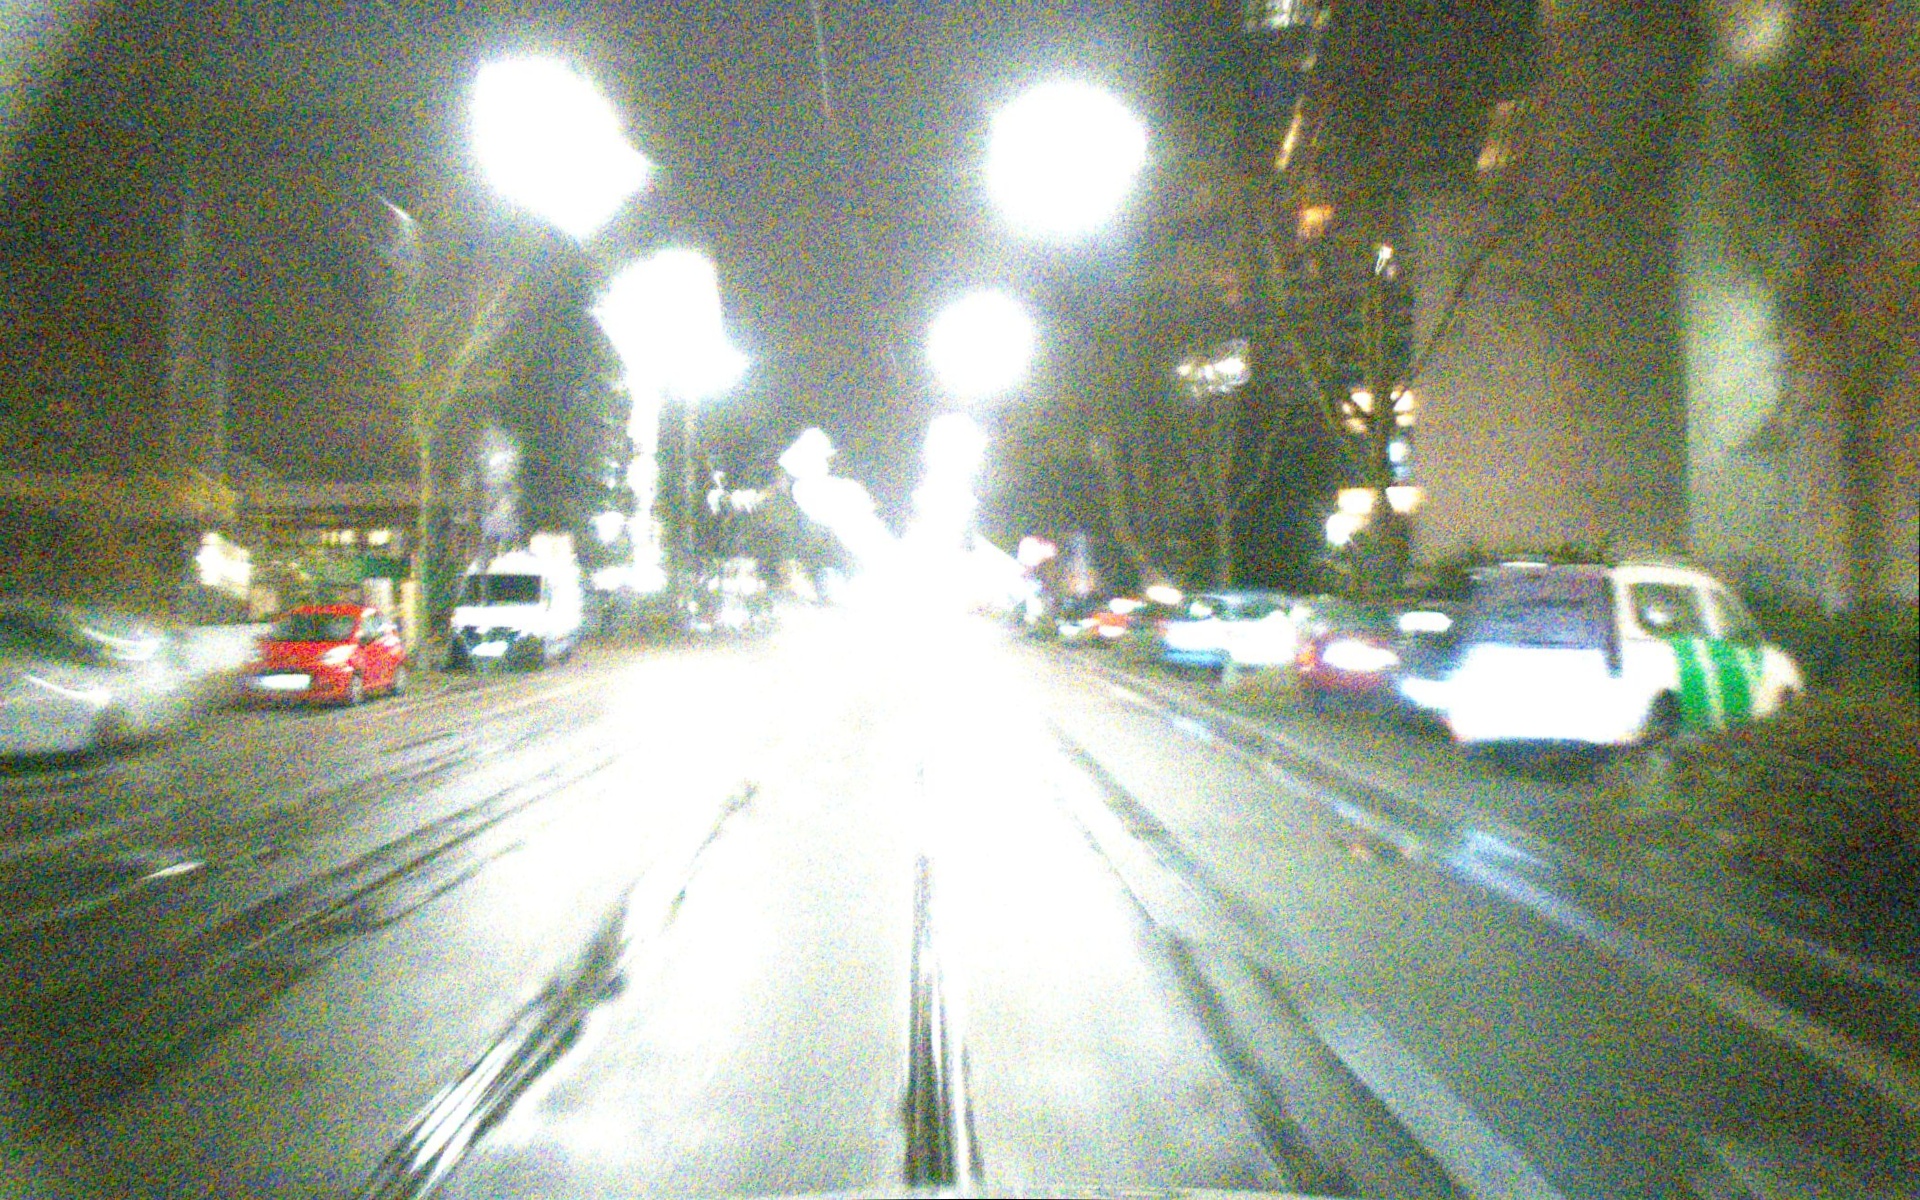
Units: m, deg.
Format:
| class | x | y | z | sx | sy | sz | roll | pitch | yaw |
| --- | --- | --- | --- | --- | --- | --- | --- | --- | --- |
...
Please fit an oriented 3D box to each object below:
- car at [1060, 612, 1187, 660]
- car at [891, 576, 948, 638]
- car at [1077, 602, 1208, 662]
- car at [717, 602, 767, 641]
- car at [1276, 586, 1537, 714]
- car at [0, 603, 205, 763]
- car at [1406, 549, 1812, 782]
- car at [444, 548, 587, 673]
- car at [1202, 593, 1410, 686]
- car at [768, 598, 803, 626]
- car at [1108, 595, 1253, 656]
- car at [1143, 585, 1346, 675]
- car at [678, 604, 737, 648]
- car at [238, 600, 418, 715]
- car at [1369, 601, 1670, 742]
| class | x | y | z | sx | sy | sz | roll | pitch | yaw |
| --- | --- | --- | --- | --- | --- | --- | --- | --- | --- |
| car | 5.357 | 1.170 | 53.806 | 1.918 | 1.480 | 4.219 | 1 | -1 | 44 |
| car | -1.726 | 0.292 | 69.098 | 2.173 | 2.484 | 5.380 | 0 | 0 | -3 |
| car | 5.328 | 0.925 | 47.953 | 2.018 | 1.652 | 3.808 | 1 | 0 | 40 |
| car | -10.514 | 1.048 | 80.045 | 1.959 | 1.816 | 3.998 | 2 | -1 | -2 |
| car | 5.957 | 0.573 | 21.721 | 1.661 | 1.429 | 4.435 | 1 | 2 | 39 |
| car | -9.369 | 0.767 | 17.022 | 1.577 | 1.453 | 3.806 | 1 | -1 | -3 |
| car | 6.140 | 0.550 | 15.430 | 4.140 | 1.871 | 1.932 | 2 | 0 | -43 |
| car | -9.908 | 0.202 | 37.342 | 1.985 | 2.542 | 5.603 | 2 | 0 | -4 |
| car | 5.994 | 0.659 | 28.375 | 1.790 | 1.458 | 3.831 | 1 | -1 | 43 |
| car | -11.685 | 0.850 | 111.135 | 1.982 | 1.791 | 3.998 | 2 | -1 | -2 |
| car | 5.588 | 0.625 | 41.635 | 3.798 | 1.455 | 1.611 | 1 | 0 | -44 |
| car | 5.343 | 0.535 | 30.813 | 3.858 | 1.560 | 1.793 | 1 | 0 | -43 |
| car | -10.877 | 1.124 | 71.597 | 2.067 | 1.795 | 4.961 | 2 | -1 | -4 |
| car | -9.709 | 0.836 | 25.684 | 1.608 | 1.533 | 3.617 | 1 | 2 | -4 |
| car | 6.249 | 0.744 | 18.384 | 3.301 | 1.409 | 1.610 | 1 | 0 | -37 |
